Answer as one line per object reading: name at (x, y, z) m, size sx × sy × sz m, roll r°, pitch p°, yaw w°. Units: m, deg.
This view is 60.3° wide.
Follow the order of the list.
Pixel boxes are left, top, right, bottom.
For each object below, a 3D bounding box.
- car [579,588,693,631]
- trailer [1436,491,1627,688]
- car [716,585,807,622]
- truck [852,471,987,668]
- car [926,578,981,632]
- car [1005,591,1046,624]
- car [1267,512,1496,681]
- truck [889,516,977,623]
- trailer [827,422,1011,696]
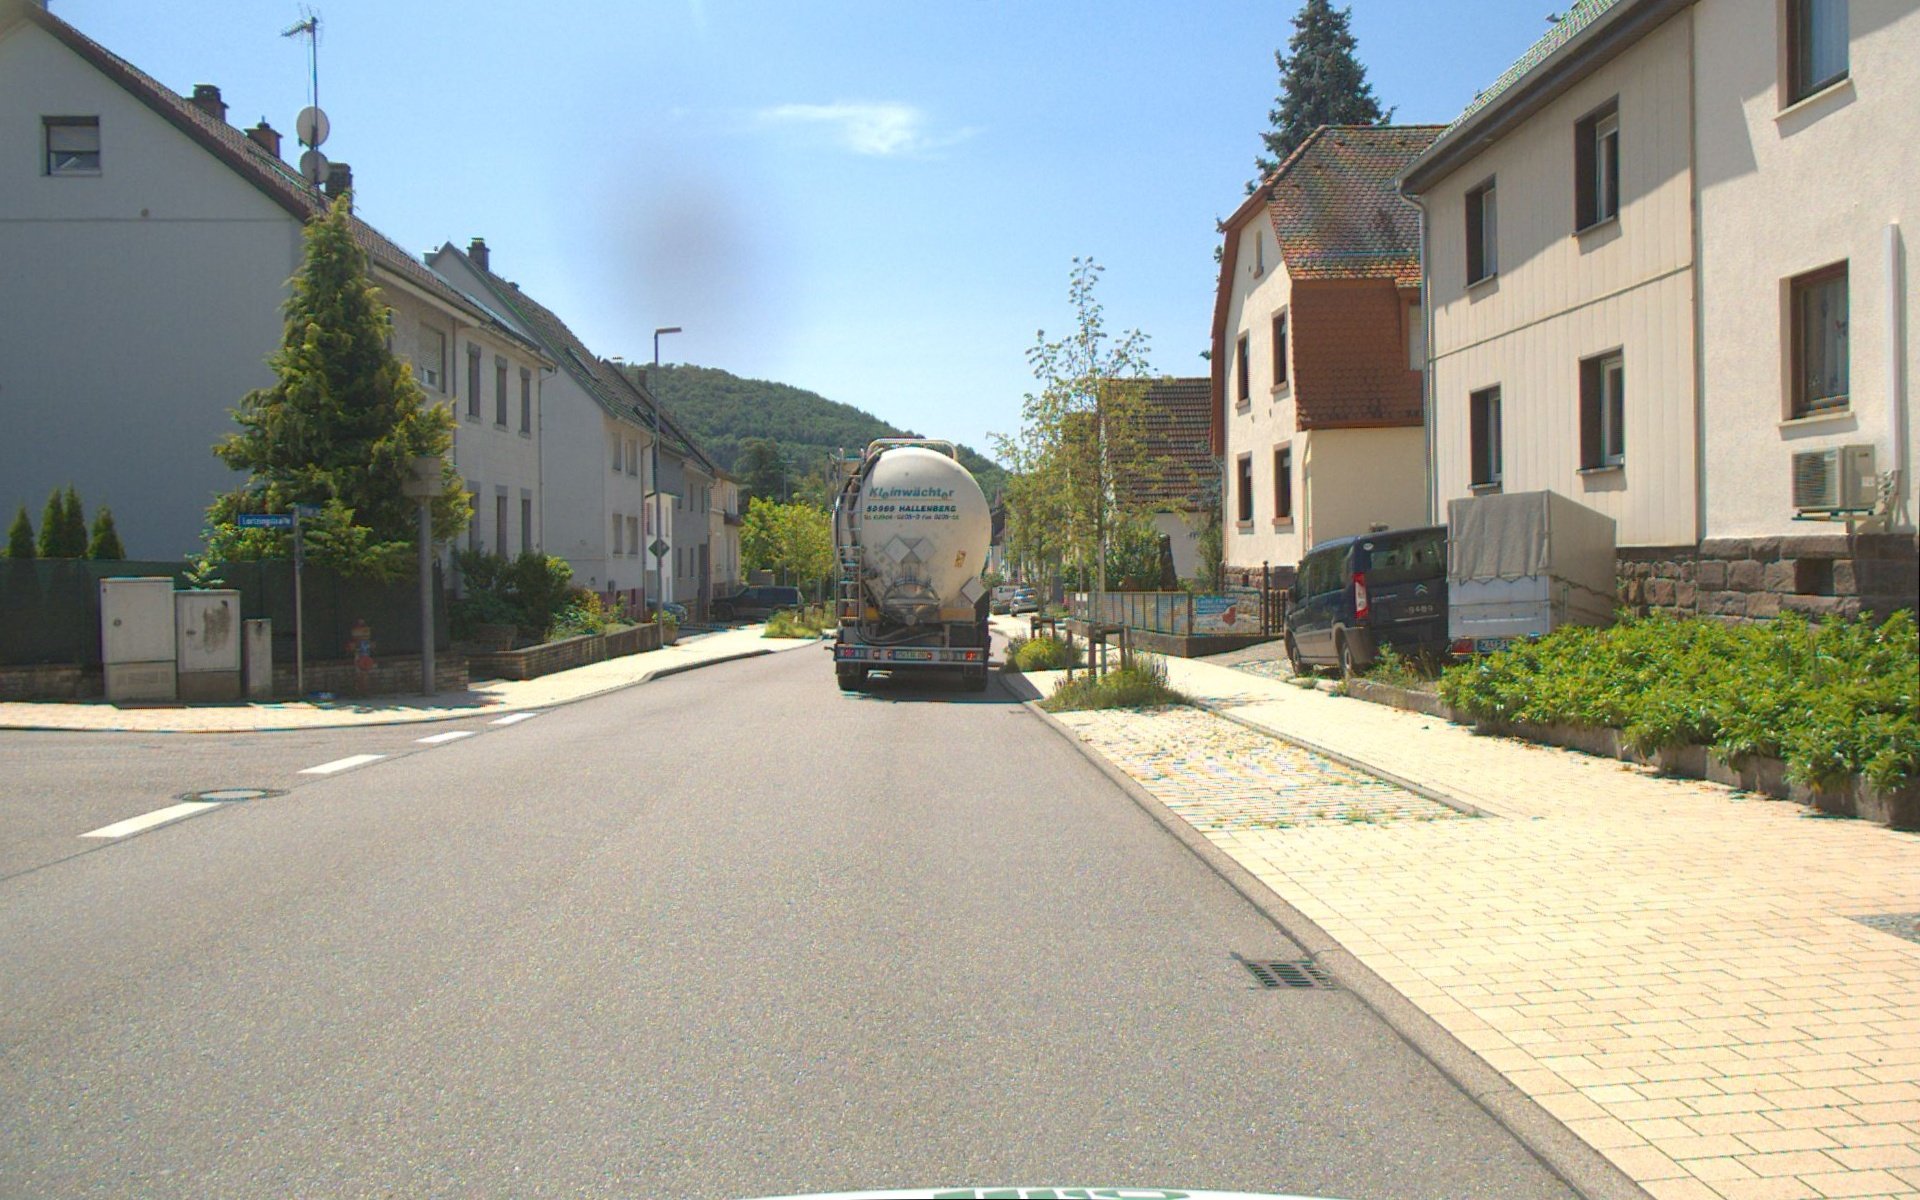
car at (-12.123, 0.345, 62.064) m, size 3.906 × 1.572 × 1.832 m, roll 0°, pitch 0°, yaw -2°
trailer at (6.406, -0.108, 18.477) m, size 1.300 × 2.049 × 2.261 m, roll 0°, pitch 0°, yaw 40°
car at (-9.680, 0.185, 80.831) m, size 4.307 × 1.781 × 1.877 m, roll 0°, pitch 0°, yaw -3°
truck at (-0.882, -0.612, 36.763) m, size 2.751 × 4.006 × 6.097 m, roll 0°, pitch 0°, yaw -1°
car at (-0.265, 0.163, 61.330) m, size 1.953 × 1.937 × 3.999 m, roll 0°, pitch 0°, yaw -1°
car at (3.602, 0.403, 91.723) m, size 1.756 × 1.567 × 4.517 m, roll -6°, pitch 0°, yaw -2°
car at (5.791, -0.045, 23.374) m, size 1.815 × 2.005 × 4.772 m, roll -4°, pitch 0°, yaw -1°
truck at (-1.472, -1.456, 83.578) m, size 3.833 × 4.981 × 9.788 m, roll -2°, pitch 0°, yaw -4°
trailer at (-0.725, -0.609, 29.808) m, size 2.739 × 4.071 × 10.320 m, roll 0°, pitch 0°, yaw -1°
